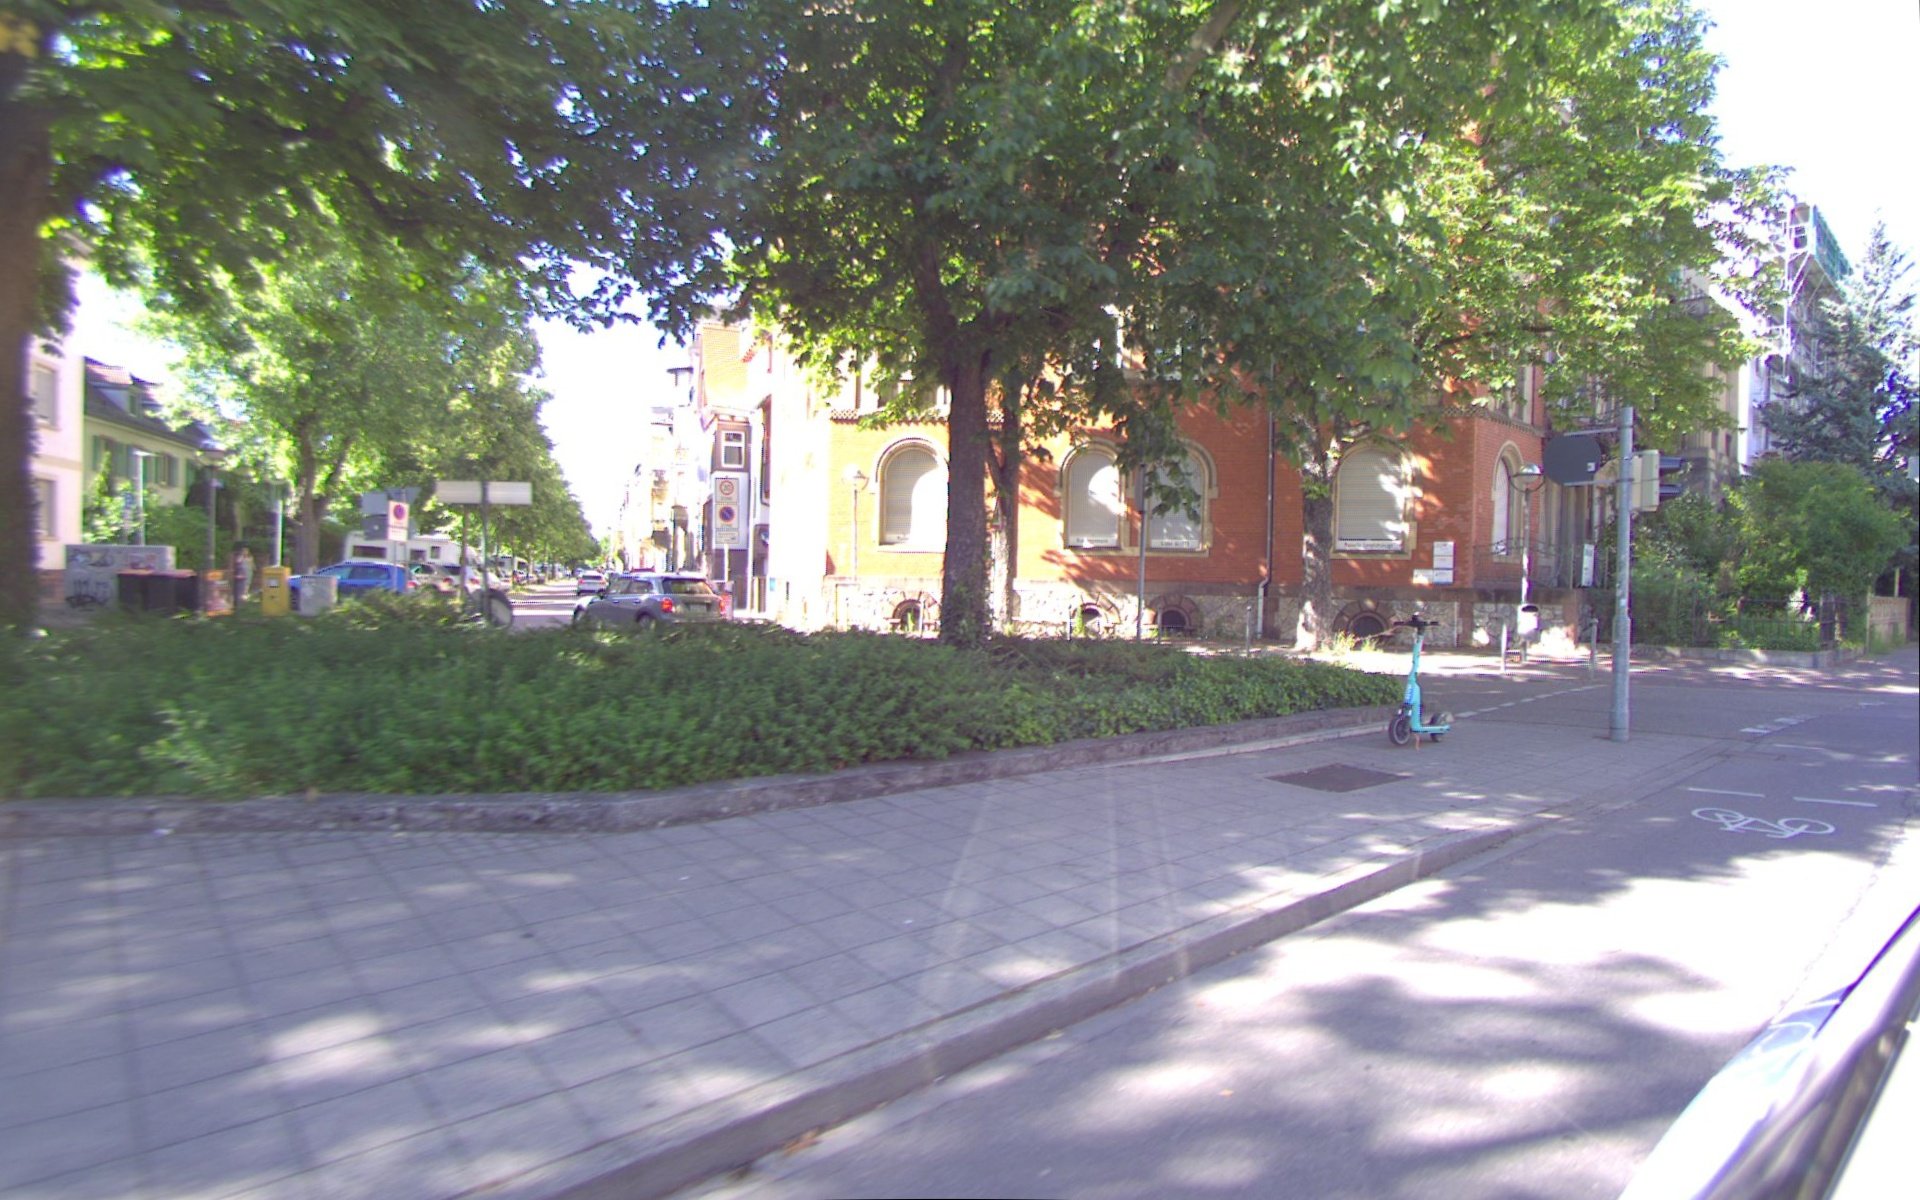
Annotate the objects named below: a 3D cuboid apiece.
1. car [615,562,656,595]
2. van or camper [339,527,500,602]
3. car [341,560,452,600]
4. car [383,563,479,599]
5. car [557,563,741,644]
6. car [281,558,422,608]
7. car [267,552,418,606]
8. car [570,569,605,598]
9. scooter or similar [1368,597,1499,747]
[{"bbox_3d":[-18.417,-1.208,57.388,1.787,1.772,4.007,-1,1,-24],"label":"car"},{"bbox_3d":[-26.057,-1.696,49.150,6.636,3.428,2.636,-1,1,-23],"label":"van or camper"},{"bbox_3d":[-22.127,-0.788,39.810,3.726,1.545,1.604,-1,1,-30],"label":"car"},{"bbox_3d":[-23.609,-0.832,45.171,3.726,1.545,1.604,-1,1,-30],"label":"car"},{"bbox_3d":[-6.467,0.034,20.833,3.982,1.506,1.795,0,1,41],"label":"car"},{"bbox_3d":[-19.203,-0.549,32.086,3.726,1.496,1.604,-1,1,-30],"label":"car"},{"bbox_3d":[-18.129,-0.612,29.880,3.726,1.496,1.604,-1,1,-30],"label":"car"},{"bbox_3d":[-23.372,-1.034,63.408,1.787,1.772,4.007,-1,1,-24],"label":"car"},{"bbox_3d":[4.580,0.645,9.767,1.305,1.326,0.677,-1,1,-41],"label":"scooter or similar"}]
